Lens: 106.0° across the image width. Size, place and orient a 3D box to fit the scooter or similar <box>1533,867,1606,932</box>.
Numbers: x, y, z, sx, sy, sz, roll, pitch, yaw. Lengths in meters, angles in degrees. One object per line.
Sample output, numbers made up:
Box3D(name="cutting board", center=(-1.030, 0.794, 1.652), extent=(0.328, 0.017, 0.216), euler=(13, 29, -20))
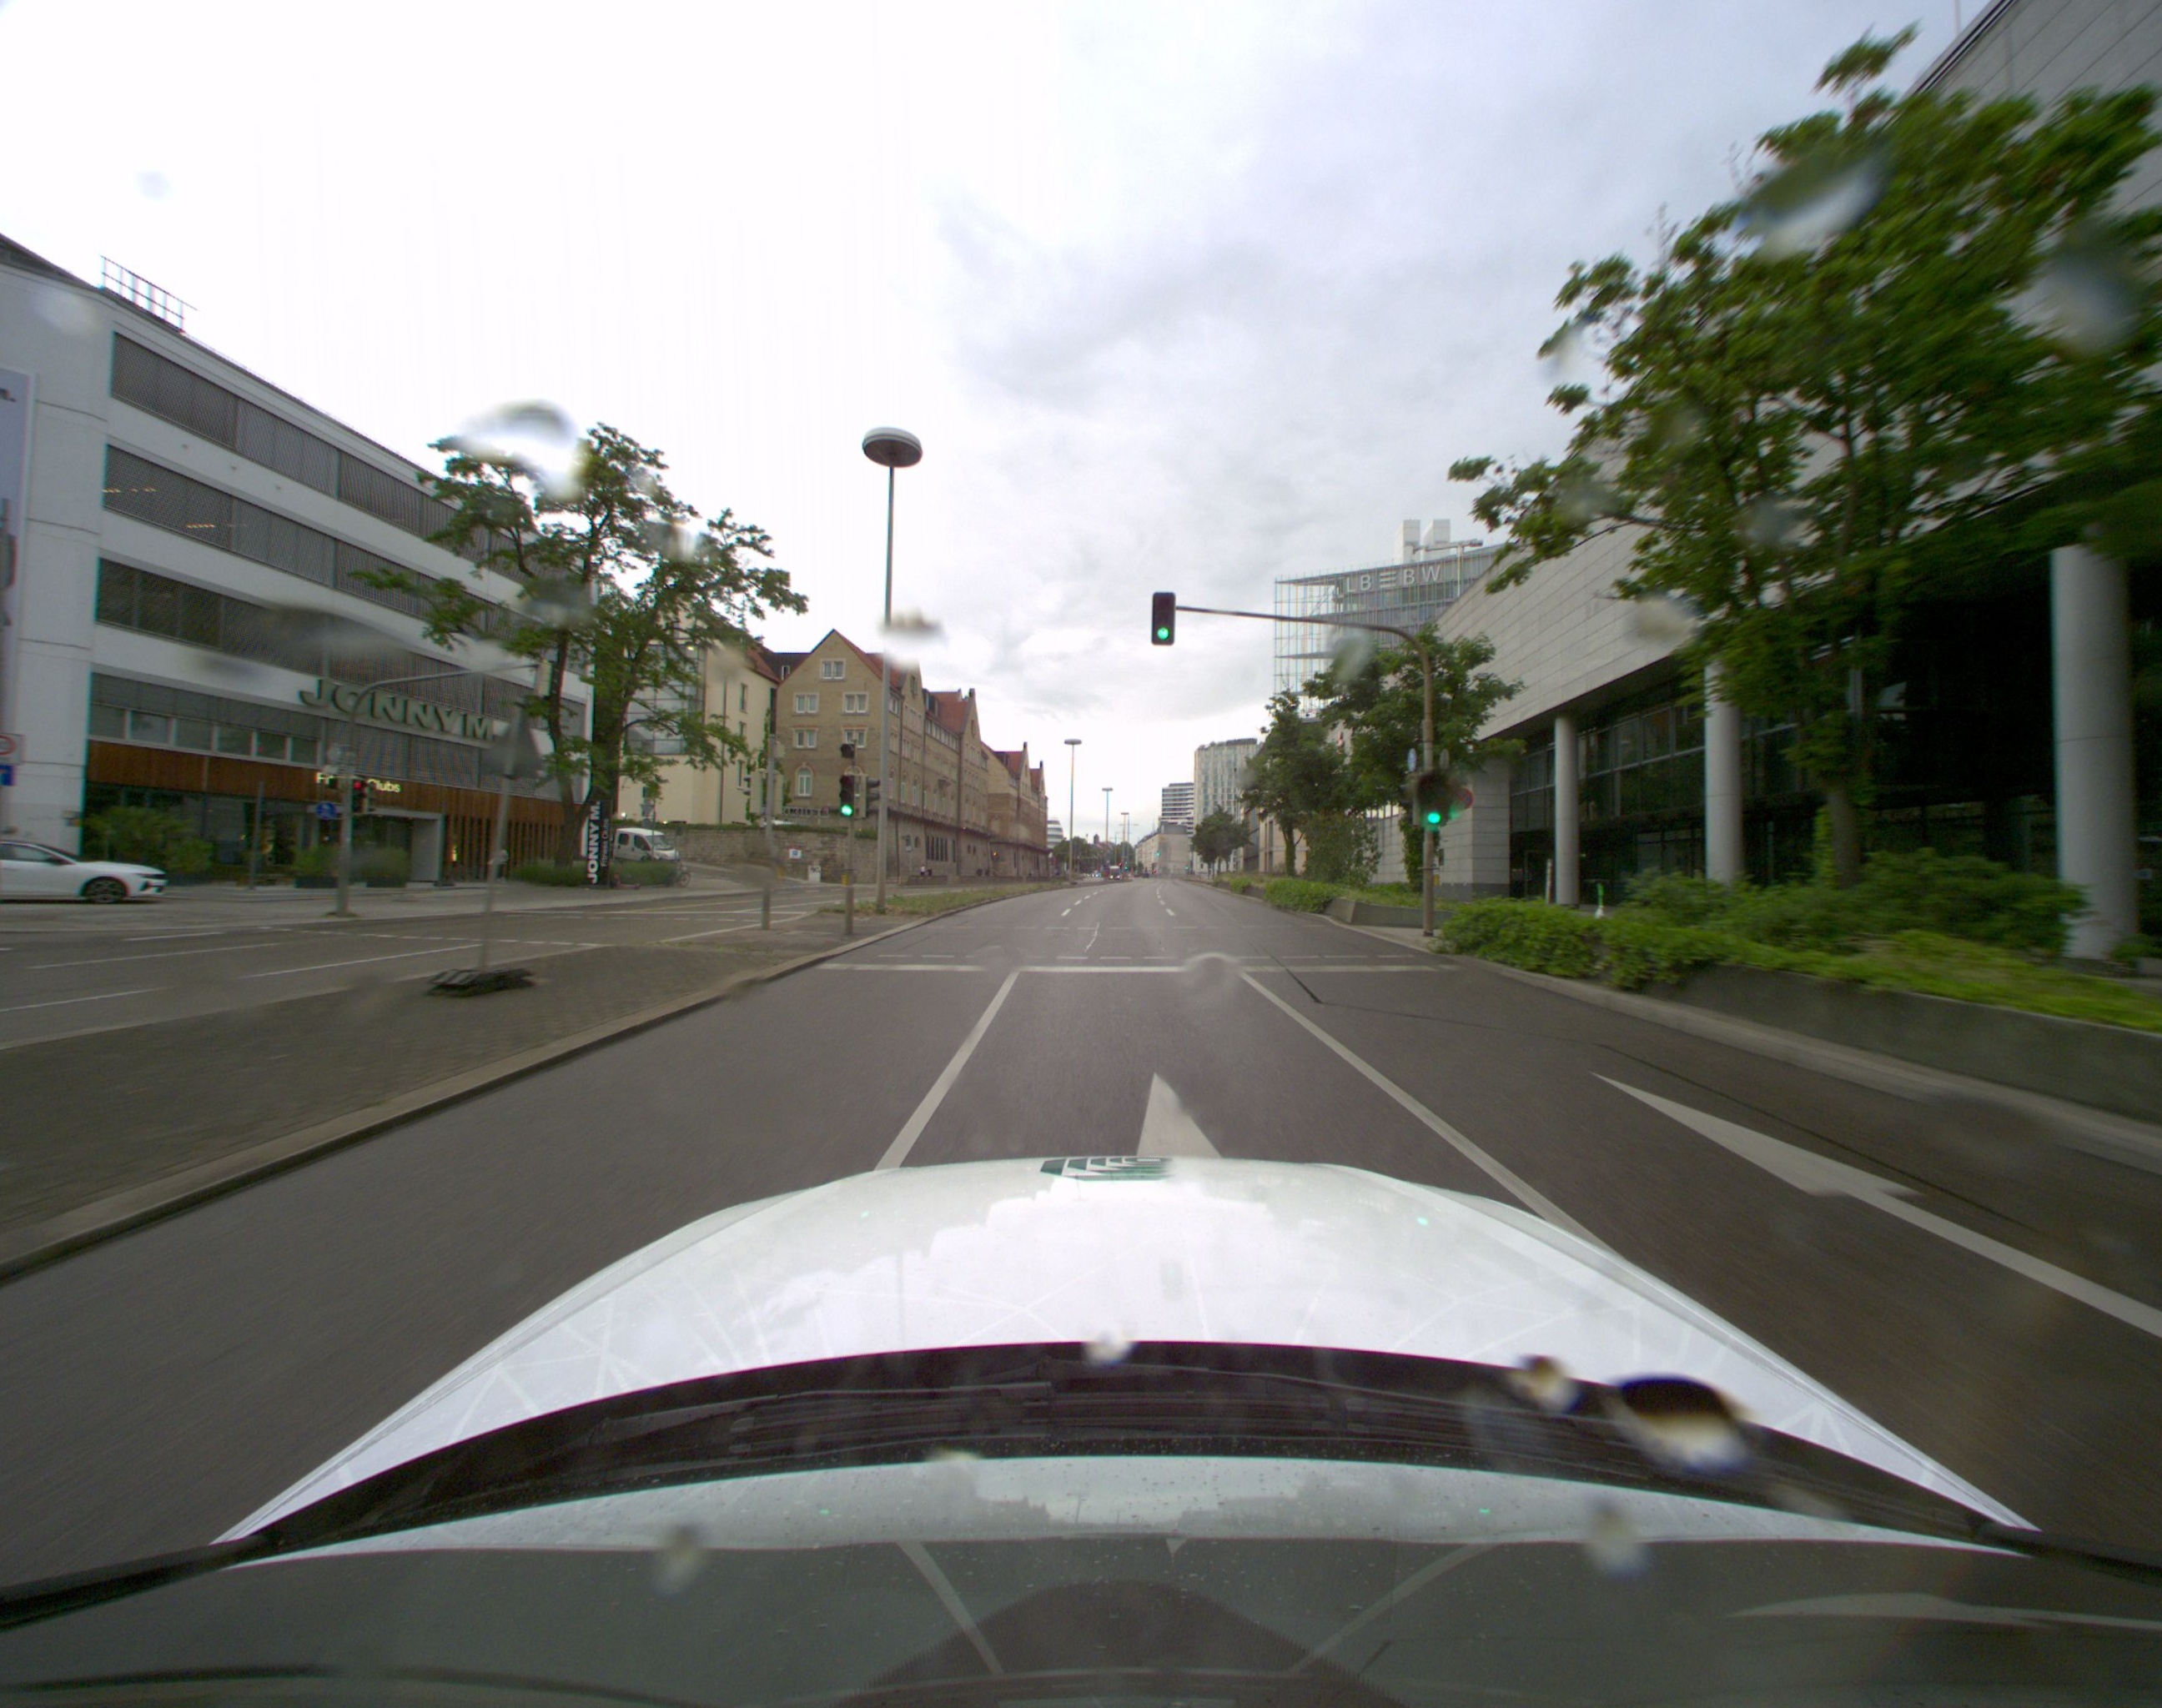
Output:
Box3D(name="scooter or similar", center=(10.893, 1.006, 18.187), extent=(1.316, 1.408, 0.460), euler=(1, 0, 7))

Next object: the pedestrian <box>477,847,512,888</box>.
Box3D(name="pedestrian", center=(-24.203, 0.553, 33.620), extent=(0.764, 1.641, 0.843), euler=(-1, -1, 5))

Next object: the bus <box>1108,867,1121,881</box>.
Box3D(name="bus", center=(8.764, 5.192, 212.342), extent=(2.685, 3.560, 10.107), euler=(-1, -2, 5))

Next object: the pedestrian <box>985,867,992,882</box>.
Box3D(name="pedestrian", center=(-10.790, 2.378, 94.867), extent=(0.637, 1.746, 0.621), euler=(-1, -1, 4))

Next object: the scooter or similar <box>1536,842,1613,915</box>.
Box3D(name="scooter or similar", center=(10.704, 0.531, 17.689), extent=(1.316, 1.531, 0.503), euler=(1, 0, 7))

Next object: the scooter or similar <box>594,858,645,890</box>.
Box3D(name="scooter or similar", center=(-19.238, 0.841, 33.983), extent=(1.757, 1.247, 0.367), euler=(4, -2, -24))

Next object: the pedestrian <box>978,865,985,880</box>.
Box3D(name="pedestrian", center=(-11.539, 2.107, 94.555), extent=(0.637, 1.746, 0.621), euler=(-1, -1, 4))

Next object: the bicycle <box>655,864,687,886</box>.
Box3D(name="bicycle", center=(-19.179, 0.988, 38.142), extent=(0.454, 0.991, 1.761), euler=(1, -1, 6))

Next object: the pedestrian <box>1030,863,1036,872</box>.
Box3D(name="pedestrian", center=(-7.622, 2.175, 129.208), extent=(0.750, 1.478, 0.715), euler=(-1, -1, 5))

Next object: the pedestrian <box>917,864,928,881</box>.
Box3D(name="pedestrian", center=(-13.899, 1.615, 71.492), extent=(0.750, 1.478, 0.715), euler=(-1, -1, 5))

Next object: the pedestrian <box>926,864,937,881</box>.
Box3D(name="pedestrian", center=(-13.105, 1.608, 71.429), extent=(0.750, 1.478, 0.715), euler=(-1, -1, 5))

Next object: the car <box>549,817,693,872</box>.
Box3D(name="car", center=(-26.279, -0.578, 46.663), extent=(6.868, 2.275, 2.519), euler=(7, 3, 6))

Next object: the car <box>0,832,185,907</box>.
Box3D(name="car", center=(-24.796, 0.356, 19.144), extent=(1.975, 1.654, 4.871), euler=(1, -2, 44))
